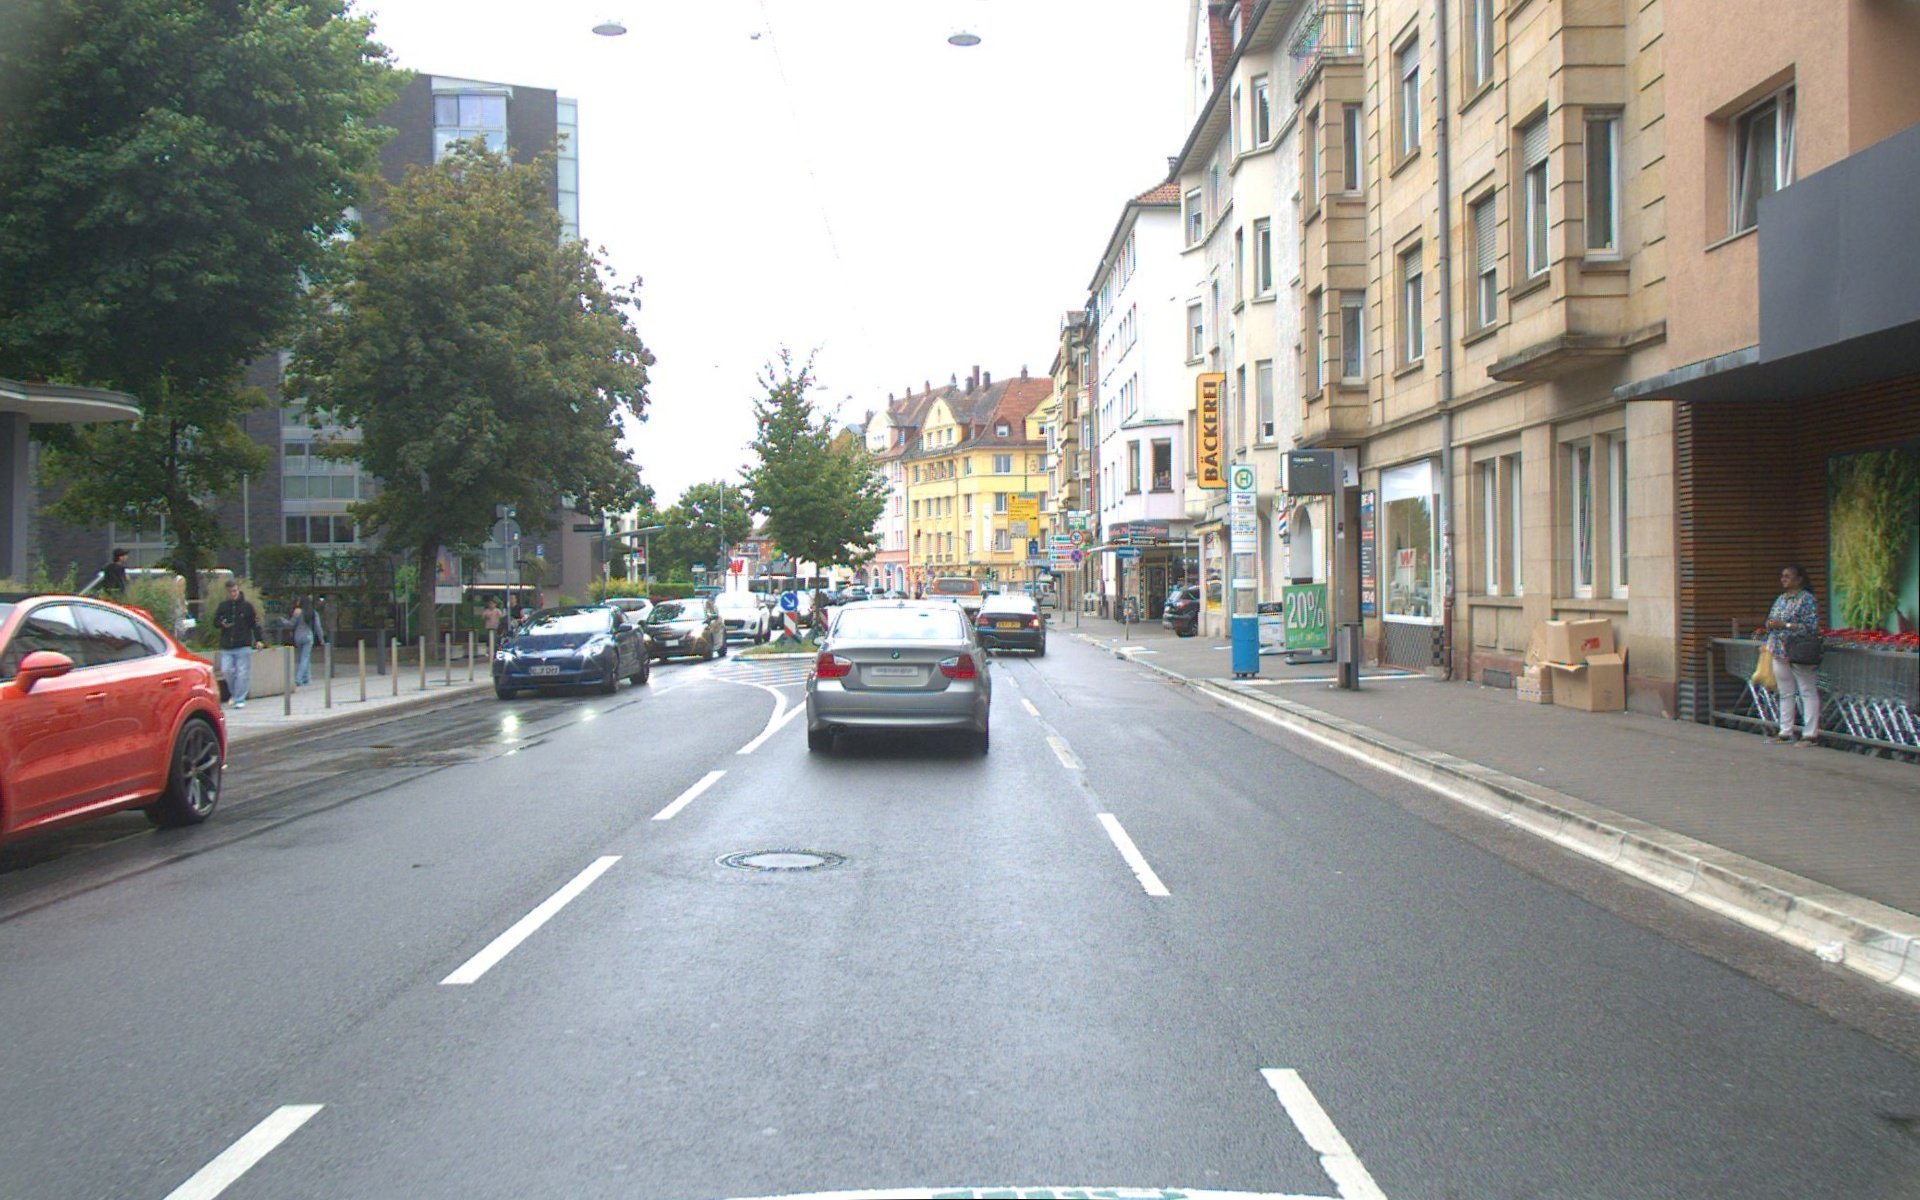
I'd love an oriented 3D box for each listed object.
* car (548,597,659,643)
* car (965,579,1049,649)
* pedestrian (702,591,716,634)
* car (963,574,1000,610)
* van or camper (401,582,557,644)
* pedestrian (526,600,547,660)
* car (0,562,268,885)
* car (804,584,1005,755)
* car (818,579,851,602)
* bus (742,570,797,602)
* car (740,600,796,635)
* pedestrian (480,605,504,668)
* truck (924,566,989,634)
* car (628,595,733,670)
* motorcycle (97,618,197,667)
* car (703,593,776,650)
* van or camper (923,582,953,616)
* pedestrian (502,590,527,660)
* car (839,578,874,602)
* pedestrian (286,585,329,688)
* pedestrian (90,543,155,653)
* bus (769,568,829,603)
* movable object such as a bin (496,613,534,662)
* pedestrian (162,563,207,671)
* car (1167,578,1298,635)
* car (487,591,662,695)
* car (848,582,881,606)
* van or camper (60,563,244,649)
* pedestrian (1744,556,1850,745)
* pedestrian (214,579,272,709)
[{"bbox_3d":[-12.854,0.692,59.702,3.545,1.597,1.721,0,0,-34],"label":"car"},{"bbox_3d":[1.069,0.331,39.629,1.763,1.590,3.998,0,0,-2],"label":"car"},{"bbox_3d":[-10.553,0.520,69.502,0.563,1.793,0.580,-1,0,-7],"label":"pedestrian"},{"bbox_3d":[1.207,-0.451,95.326,1.953,2.049,3.999,0,0,-1],"label":"car"},{"bbox_3d":[-16.660,0.430,57.400,4.899,2.049,1.980,0,0,-30],"label":"van or camper"},{"bbox_3d":[-10.334,0.731,40.370,0.424,1.435,0.481,0,0,-4],"label":"pedestrian"},{"bbox_3d":[-6.398,0.733,10.290,2.063,1.795,5.059,-2,0,-1],"label":"car"},{"bbox_3d":[-0.547,0.657,16.677,1.763,1.490,4.369,0,-1,-2],"label":"car"},{"bbox_3d":[-11.536,-0.901,152.222,1.966,2.049,3.974,-1,0,-22],"label":"car"},{"bbox_3d":[-19.362,-1.383,167.256,2.872,3.159,8.800,-1,1,-25],"label":"bus"},{"bbox_3d":[-8.440,0.754,72.923,1.973,1.450,4.499,-1,0,-1],"label":"car"},{"bbox_3d":[-11.403,0.882,40.277,0.450,1.499,0.530,0,0,-4],"label":"pedestrian"},{"bbox_3d":[-0.161,-0.016,57.824,2.179,2.289,5.062,0,0,-1],"label":"truck"},{"bbox_3d":[-6.709,0.742,40.133,1.916,1.584,4.242,-3,1,-2],"label":"car"},{"bbox_3d":[-18.605,0.959,37.849,2.009,1.005,0.797,2,1,14],"label":"motorcycle"},{"bbox_3d":[-6.684,0.610,50.493,1.783,1.596,4.088,-1,1,-2],"label":"car"},{"bbox_3d":[-1.511,-0.082,110.922,1.818,2.184,4.140,-1,0,-3],"label":"van or camper"},{"bbox_3d":[-10.874,0.610,40.392,0.488,1.702,0.552,0,0,-4],"label":"pedestrian"},{"bbox_3d":[-9.182,-0.863,146.502,1.965,2.049,3.974,-1,0,-21],"label":"car"},{"bbox_3d":[-12.015,0.659,30.436,0.711,1.858,0.848,0,1,-23],"label":"pedestrian"},{"bbox_3d":[-14.493,-0.041,28.643,0.845,1.877,0.691,-1,0,-15],"label":"pedestrian"},{"bbox_3d":[-15.544,-1.363,159.115,2.872,3.159,9.069,-1,1,-25],"label":"bus"},{"bbox_3d":[-10.686,0.895,39.728,0.689,1.154,0.965,1,0,-4],"label":"movable object such as a bin"},{"bbox_3d":[-13.156,0.280,28.071,0.646,1.789,0.716,-1,0,-24],"label":"pedestrian"},{"bbox_3d":[8.707,0.193,53.143,4.050,1.803,1.875,0,0,6],"label":"car"},{"bbox_3d":[-6.485,0.657,28.389,1.915,1.538,4.911,-2,1,-1],"label":"car"},{"bbox_3d":[-9.216,-0.613,159.976,1.740,2.218,3.967,2,0,-26],"label":"car"},{"bbox_3d":[-22.958,0.166,47.033,4.554,2.306,2.190,1,0,-30],"label":"van or camper"},{"bbox_3d":[7.298,0.426,14.431,0.552,1.600,0.624,0,0,-17],"label":"pedestrian"},{"bbox_3d":[-10.437,0.619,24.100,0.710,1.858,0.718,0,1,-20],"label":"pedestrian"}]
